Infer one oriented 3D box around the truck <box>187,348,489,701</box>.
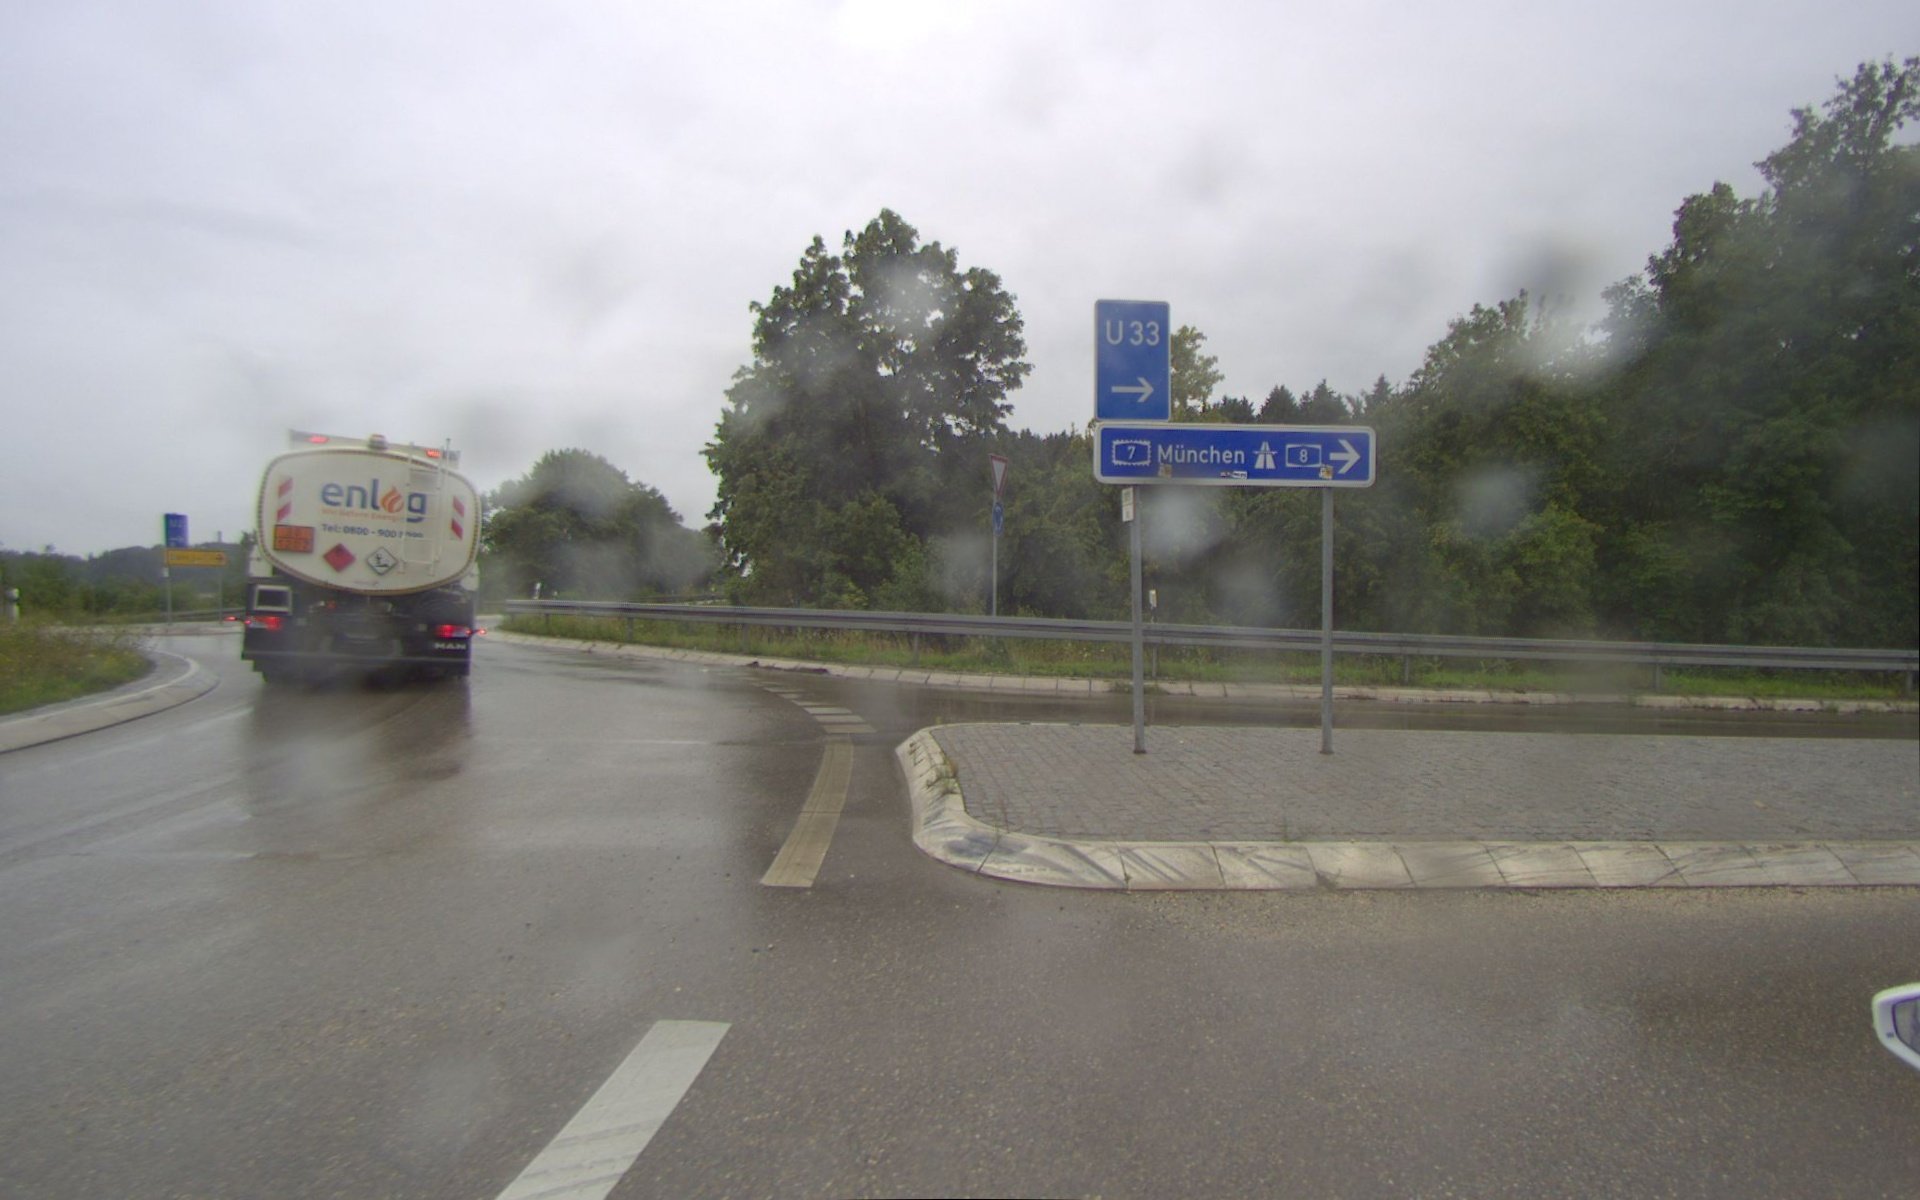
[{"bbox_3d":[-9.167,-0.959,15.729,3.010,3.904,8.760,0,2,-27],"label":"truck"}]
